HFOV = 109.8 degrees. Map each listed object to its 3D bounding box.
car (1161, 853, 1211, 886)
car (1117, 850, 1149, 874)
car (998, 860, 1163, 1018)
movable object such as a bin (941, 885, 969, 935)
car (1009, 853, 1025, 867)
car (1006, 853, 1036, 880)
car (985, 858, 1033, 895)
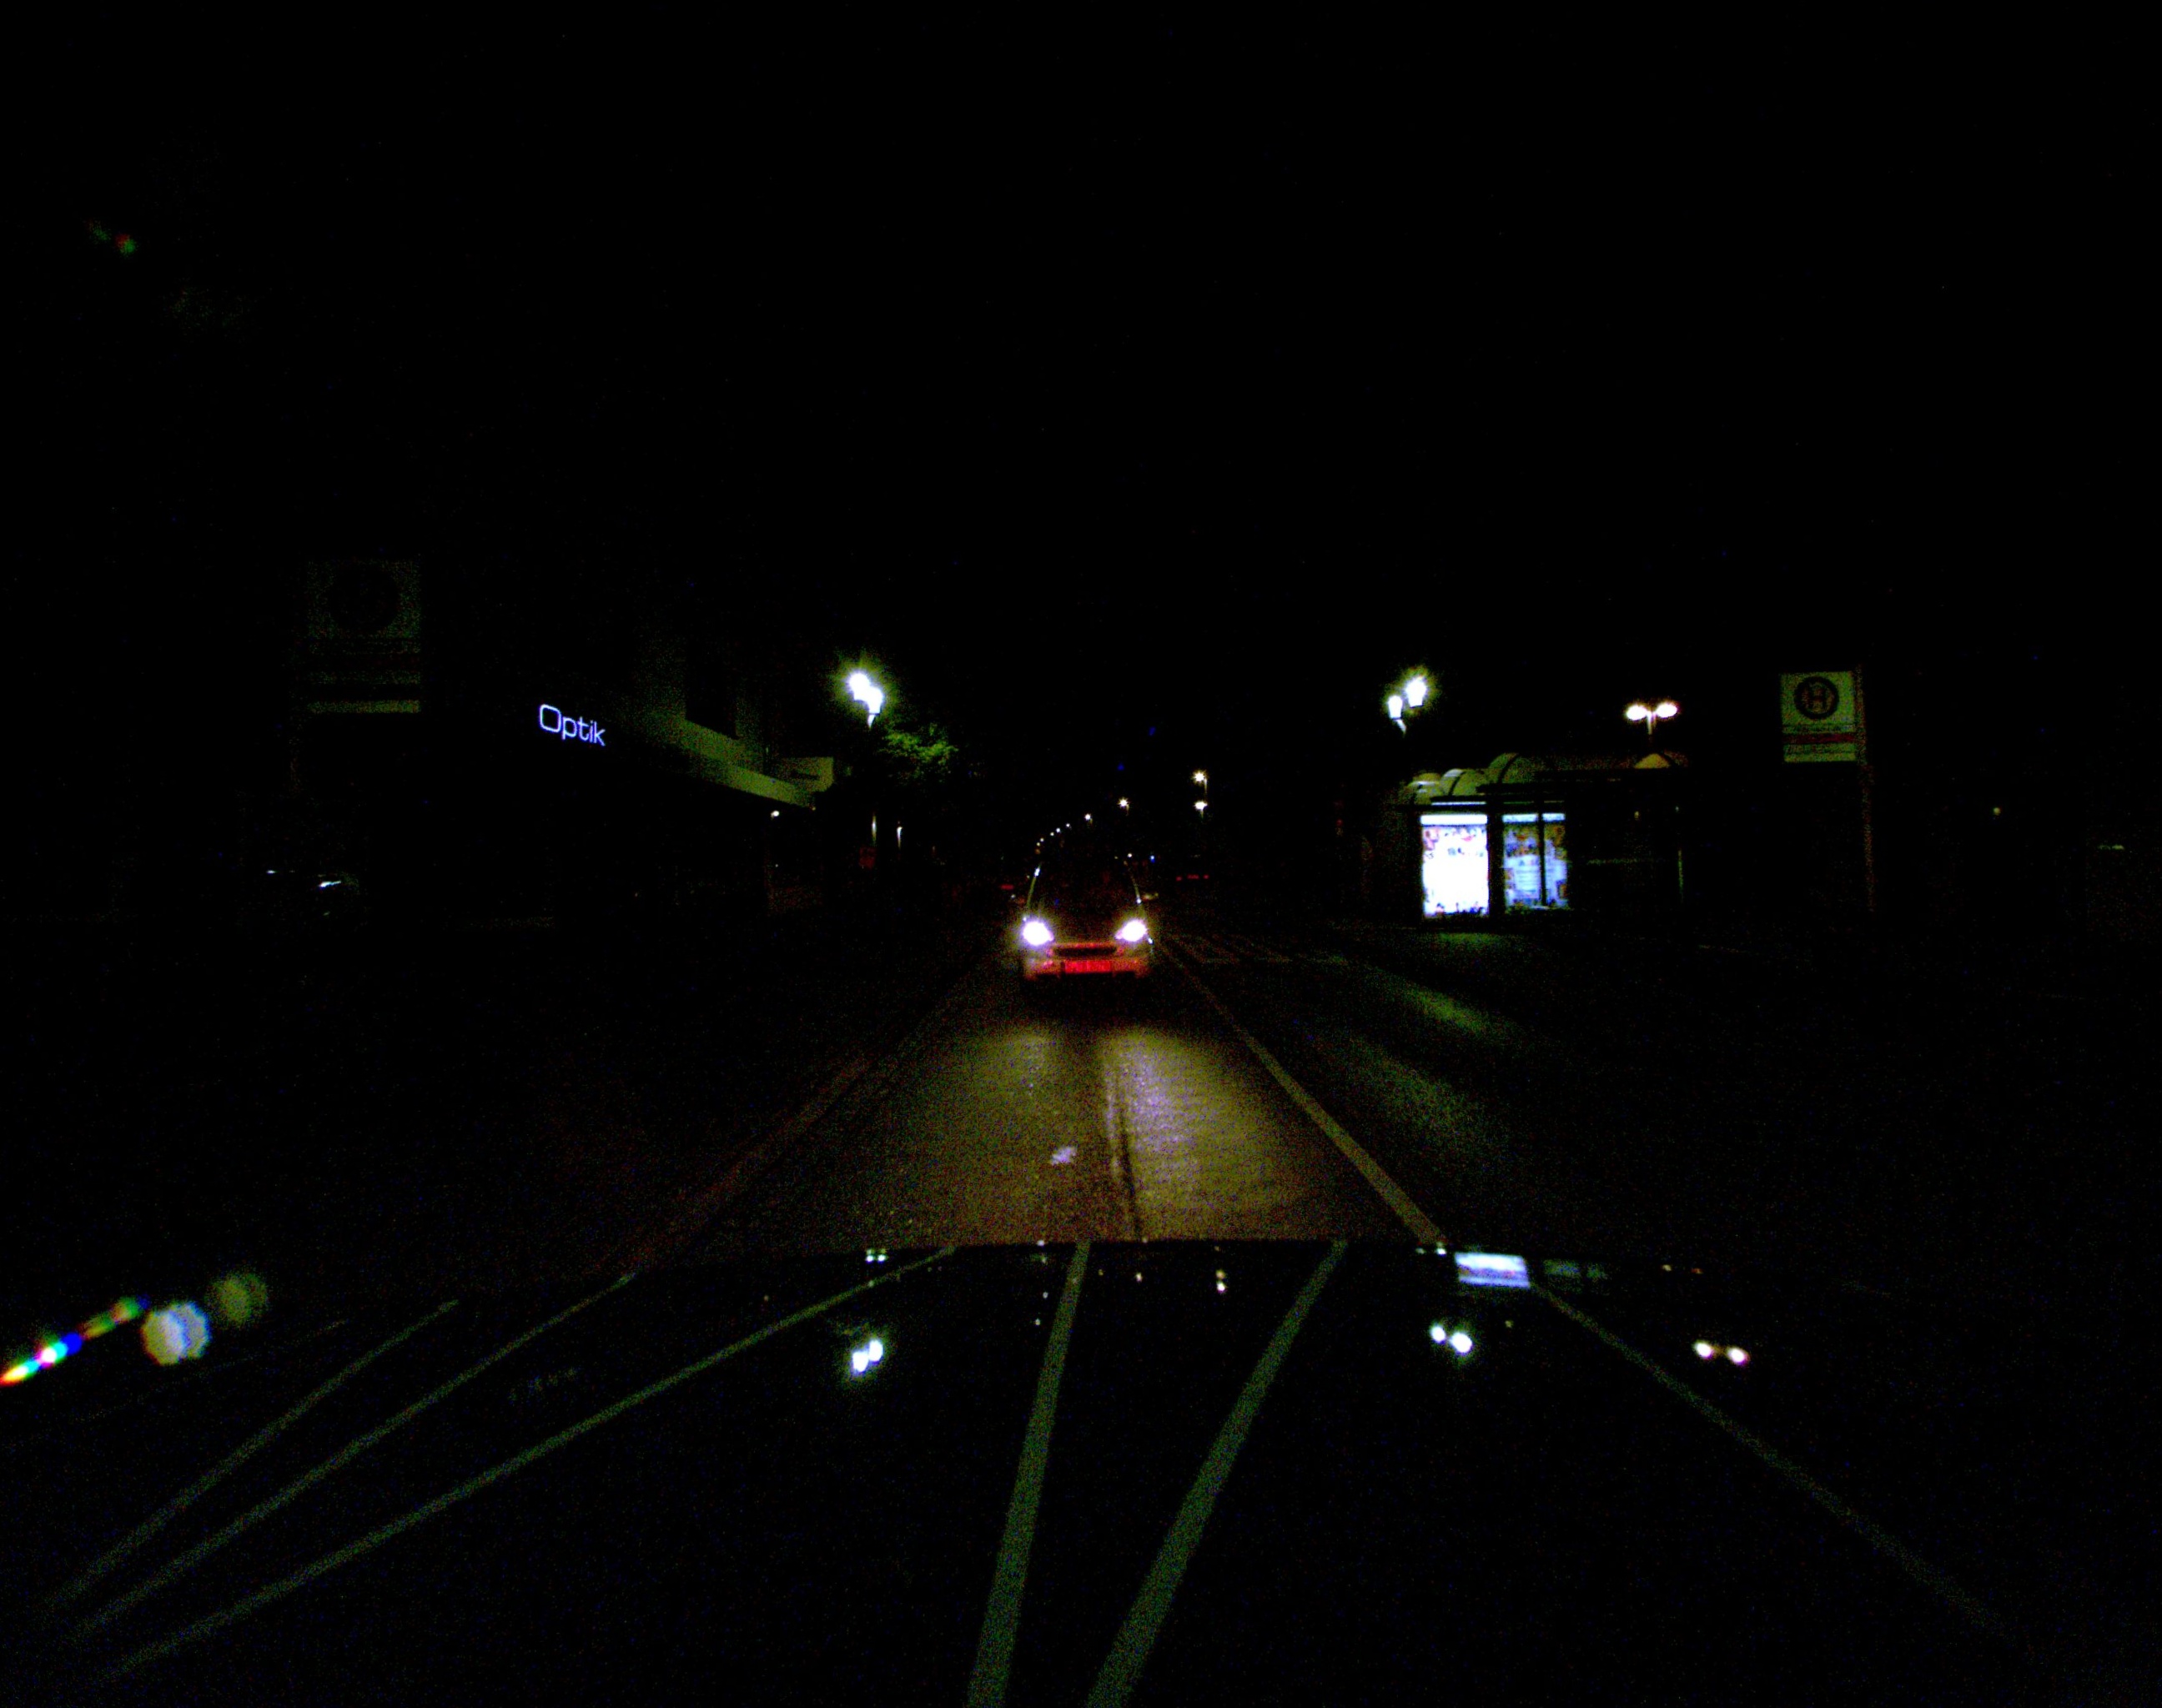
[{"bbox_3d":[5.071,0.705,37.275,1.696,1.428,4.127,-3,0,-2],"label":"car"},{"bbox_3d":[3.686,0.538,54.543,1.697,1.515,3.688,-2,2,-6],"label":"car"},{"bbox_3d":[0.069,0.881,9.515,1.627,1.496,3.550,-2,1,2],"label":"car"},{"bbox_3d":[-2.576,1.130,15.526,0.525,0.932,0.628,-2,2,-11],"label":"movable object such as a bin"},{"bbox_3d":[-7.244,0.697,85.658,1.643,1.458,3.774,-3,1,-5],"label":"car"},{"bbox_3d":[-3.861,0.769,49.215,1.792,1.632,4.378,0,0,-4],"label":"car"},{"bbox_3d":[-3.033,0.910,32.833,1.863,1.434,4.592,0,1,-3],"label":"car"}]
